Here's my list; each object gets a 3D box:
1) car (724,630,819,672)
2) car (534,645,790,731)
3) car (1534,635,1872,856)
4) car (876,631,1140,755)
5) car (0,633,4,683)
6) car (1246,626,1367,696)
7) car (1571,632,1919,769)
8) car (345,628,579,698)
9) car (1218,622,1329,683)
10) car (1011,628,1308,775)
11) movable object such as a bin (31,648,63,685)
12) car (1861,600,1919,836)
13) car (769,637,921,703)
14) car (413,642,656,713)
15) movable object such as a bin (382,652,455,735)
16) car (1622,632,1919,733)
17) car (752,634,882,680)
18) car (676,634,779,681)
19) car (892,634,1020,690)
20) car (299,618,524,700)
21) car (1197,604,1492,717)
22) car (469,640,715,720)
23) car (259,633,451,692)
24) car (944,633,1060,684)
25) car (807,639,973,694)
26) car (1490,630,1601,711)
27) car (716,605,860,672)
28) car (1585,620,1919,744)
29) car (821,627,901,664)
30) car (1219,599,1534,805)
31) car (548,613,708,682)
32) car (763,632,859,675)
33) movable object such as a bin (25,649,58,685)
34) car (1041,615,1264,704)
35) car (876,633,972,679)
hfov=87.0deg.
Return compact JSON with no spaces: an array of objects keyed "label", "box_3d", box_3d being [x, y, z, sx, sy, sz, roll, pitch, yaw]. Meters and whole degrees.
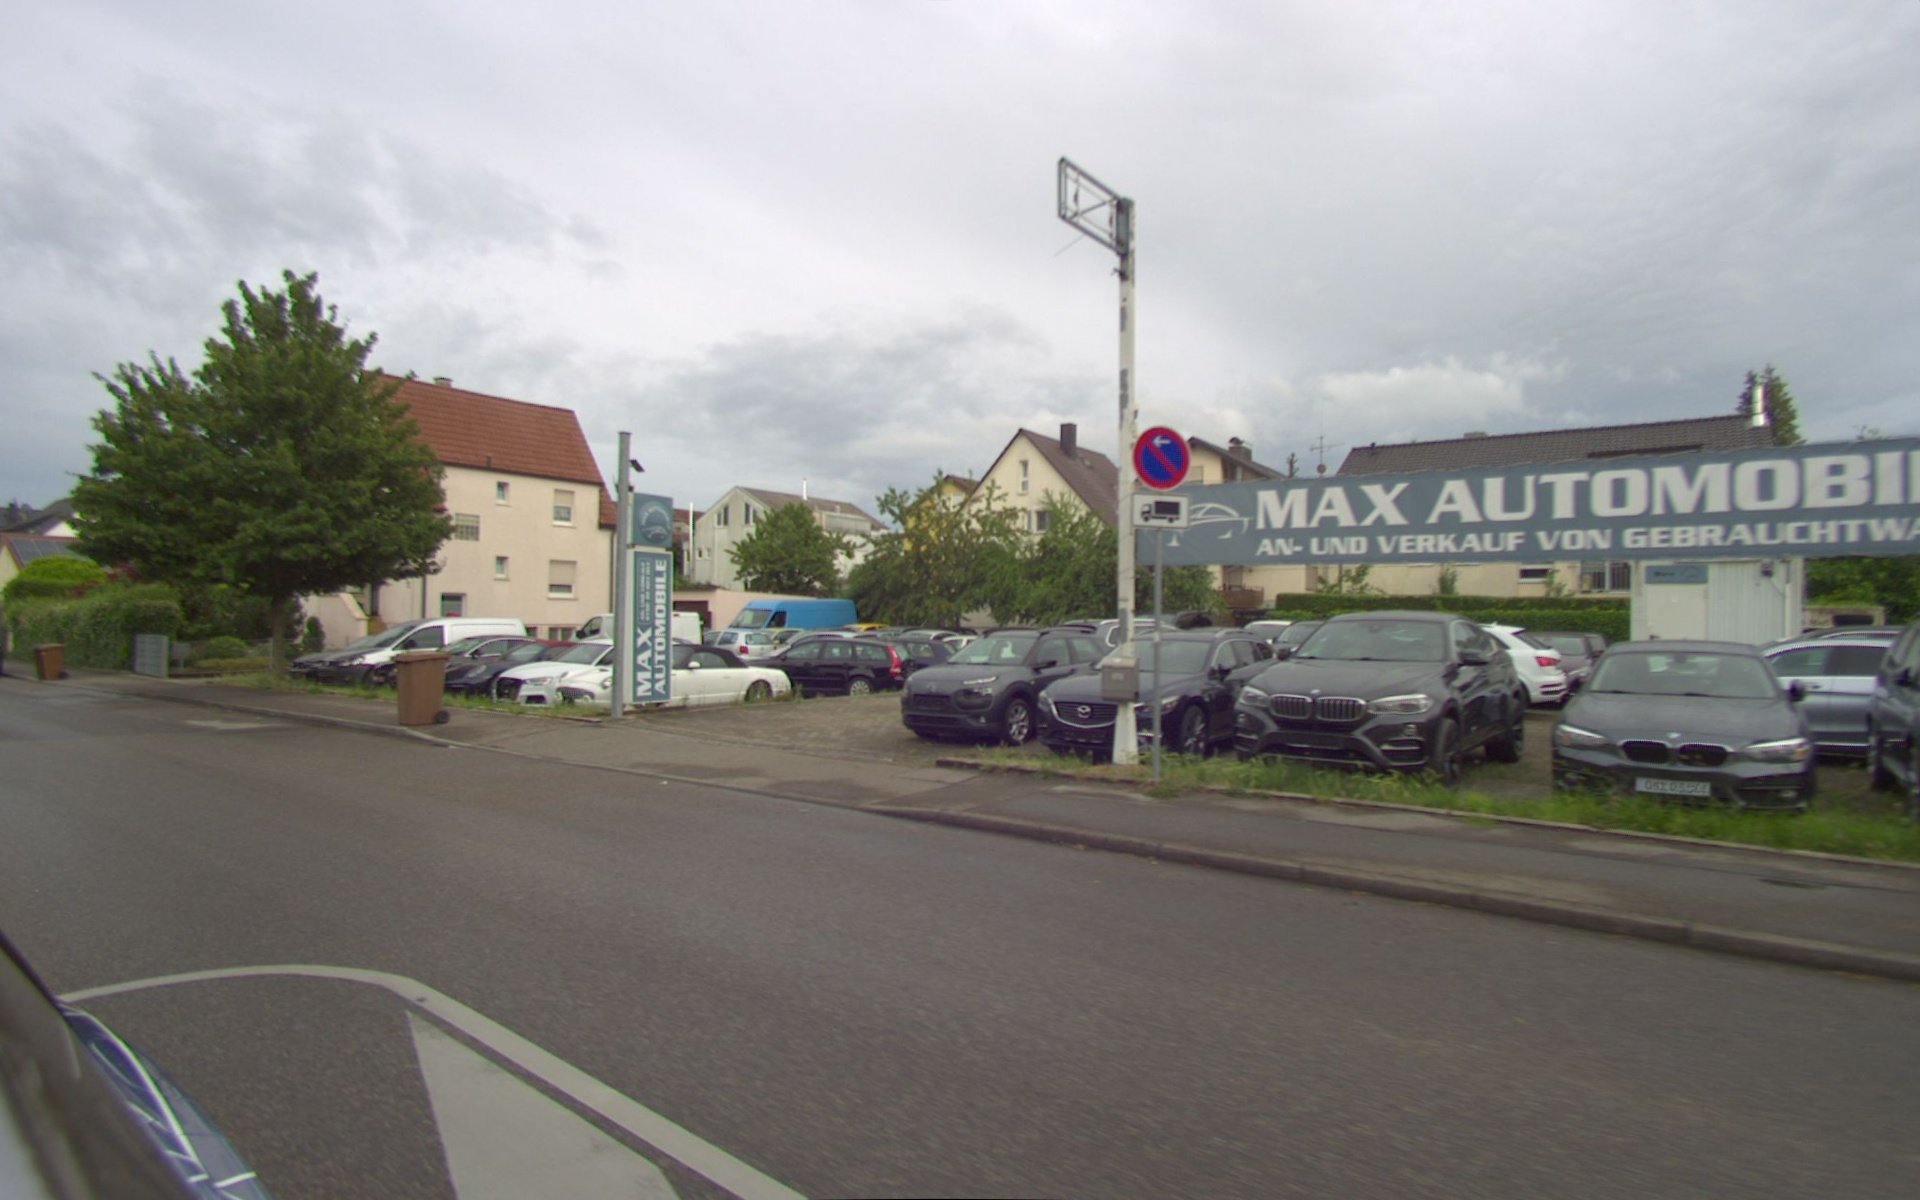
[{"label":"car","box_3d":[-6.383,1.717,34.500,1.335,1.343,3.195,-1,-2,34]},{"label":"car","box_3d":[-5.372,1.539,18.777,1.768,1.342,4.411,-1,-2,36]},{"label":"car","box_3d":[6.617,1.053,9.106,1.956,1.443,4.307,-1,-2,37]},{"label":"car","box_3d":[0.812,1.184,14.345,1.836,1.475,3.949,-1,-2,37]},{"label":"car","box_3d":[-28.914,1.616,28.811,3.938,1.414,1.790,-1,-4,37]},{"label":"car","box_3d":[7.956,1.323,23.063,1.782,1.449,3.705,-1,-2,33]},{"label":"car","box_3d":[10.186,1.101,11.672,5.209,1.431,1.881,-1,-3,37]},{"label":"car","box_3d":[-11.281,1.370,23.258,1.892,1.429,4.522,-1,-2,32]},{"label":"car","box_3d":[8.840,1.421,28.351,1.785,1.583,3.699,-1,-2,38]},{"label":"car","box_3d":[2.637,1.094,12.561,1.938,1.475,4.307,-1,-2,37]},{"label":"movable object such as a bin","box_3d":[-24.004,1.750,26.612,0.423,0.917,0.535,-1,1,35]},{"label":"car","box_3d":[8.555,0.869,7.854,1.956,1.703,4.307,-1,-2,37]},{"label":"car","box_3d":[-2.617,1.565,23.128,3.202,1.426,1.332,0,-2,14]},{"label":"car","box_3d":[-9.054,1.585,21.898,1.885,1.319,4.516,-1,-2,36]},{"label":"movable object such as a bin","box_3d":[-7.940,1.350,14.832,0.734,1.138,0.701,-1,-2,37]},{"label":"car","box_3d":[12.775,1.214,15.776,3.994,1.409,1.675,-1,-3,37]},{"label":"car","box_3d":[-4.159,1.615,29.319,3.520,1.245,1.647,-1,-2,31]},{"label":"car","box_3d":[-7.186,1.737,31.196,3.108,1.343,1.373,-1,-2,35]},{"label":"car","box_3d":[-0.093,1.629,27.132,3.203,1.426,1.332,0,-2,15]},{"label":"car","box_3d":[-13.323,1.382,24.886,1.892,1.804,4.522,-1,-2,32]},{"label":"car","box_3d":[5.905,0.900,15.749,3.994,1.542,1.675,-1,-3,37]},{"label":"car","box_3d":[-7.261,1.513,20.364,1.885,1.384,4.336,-1,-2,36]},{"label":"car","box_3d":[-15.456,1.553,26.051,1.756,1.383,3.880,-1,-2,32]},{"label":"car","box_3d":[1.252,1.672,29.512,3.202,1.426,1.332,0,-2,14]},{"label":"car","box_3d":[-1.787,1.642,25.718,3.980,1.267,1.606,-1,-2,27]},{"label":"car","box_3d":[11.696,1.311,20.101,1.740,1.425,3.902,-1,-2,32]},{"label":"car","box_3d":[-6.443,1.416,38.633,2.043,2.392,5.618,-1,-1,36]},{"label":"car","box_3d":[11.615,1.057,13.701,5.209,1.513,1.881,-1,-3,37]},{"label":"car","box_3d":[-3.744,1.733,38.740,1.335,1.343,3.195,-1,-2,34]},{"label":"car","box_3d":[4.591,0.906,10.754,2.055,1.704,4.307,-1,-2,37]},{"label":"car","box_3d":[-10.159,1.422,30.837,5.041,1.945,1.976,-1,-3,35]},{"label":"car","box_3d":[-4.856,1.720,33.387,1.335,1.343,3.195,-1,-2,34]},{"label":"movable object such as a bin","box_3d":[-24.406,1.774,26.882,0.504,0.917,0.535,-1,1,35]},{"label":"car","box_3d":[3.677,1.068,19.133,3.933,1.511,1.942,1,-2,-34]},{"label":"car","box_3d":[-1.060,1.695,31.199,1.335,1.343,3.195,-1,-2,34]}]
